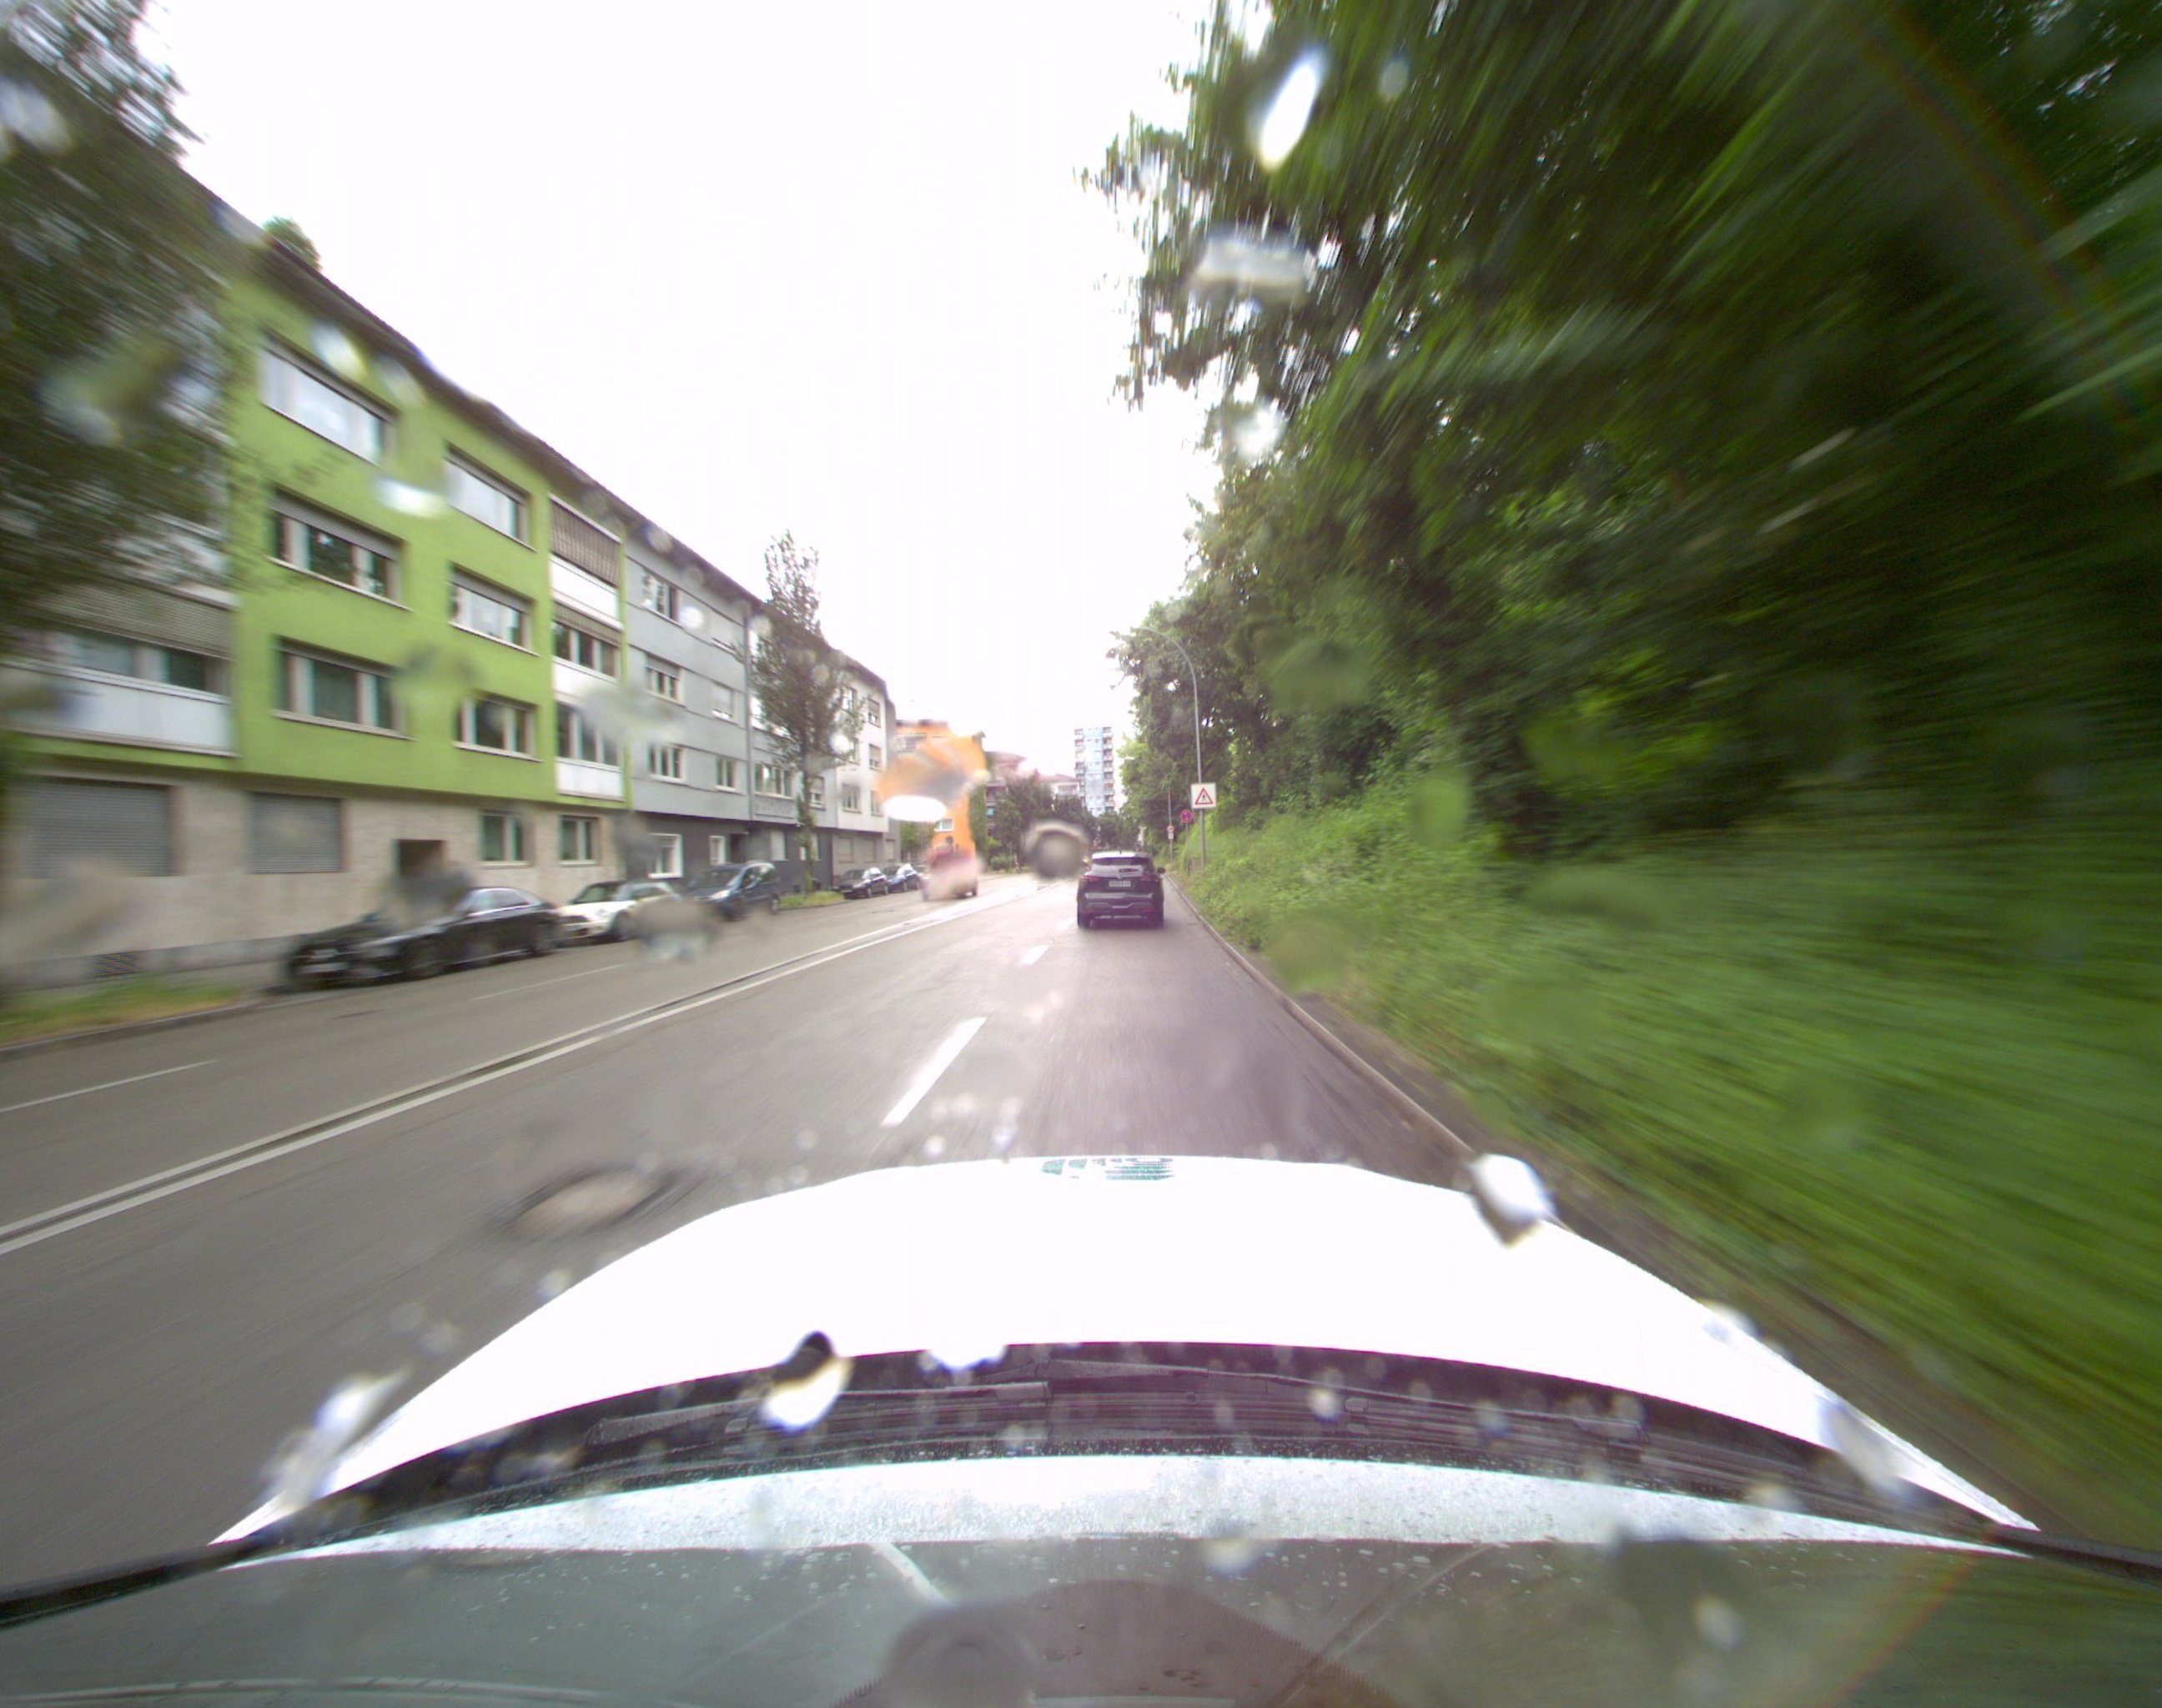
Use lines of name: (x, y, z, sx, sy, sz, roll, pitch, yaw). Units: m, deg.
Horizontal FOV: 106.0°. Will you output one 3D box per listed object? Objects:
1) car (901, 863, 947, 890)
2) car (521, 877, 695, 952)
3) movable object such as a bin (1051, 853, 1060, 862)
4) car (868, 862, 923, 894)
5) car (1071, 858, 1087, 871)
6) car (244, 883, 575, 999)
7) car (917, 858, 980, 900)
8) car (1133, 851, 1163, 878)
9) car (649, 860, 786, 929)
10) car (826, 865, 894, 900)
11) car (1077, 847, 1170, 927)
car: (-9.614, 1.336, 50.126, 1.705, 1.425, 4.326, -4, 0, 3)
car: (-11.175, 1.364, 19.590, 1.674, 1.376, 4.001, -4, 0, 1)
movable object such as a bin: (-4.187, 0.626, 132.323, 1.315, 1.361, 1.260, -3, 0, 5)
car: (-10.000, 1.282, 44.236, 1.674, 1.449, 4.279, -5, 0, 3)
car: (-0.219, 1.317, 106.122, 1.781, 1.504, 4.651, -3, 0, 2)
car: (-11.191, 1.337, 14.155, 1.812, 1.372, 4.679, -4, 0, -1)
car: (-5.167, 0.938, 32.159, 1.700, 1.478, 3.681, -3, 0, 1)
car: (4.522, 0.711, 55.591, 1.879, 1.711, 4.004, -2, 0, 3)
car: (-11.041, 1.153, 25.154, 1.883, 1.766, 4.603, -4, 0, 3)
car: (-10.327, 1.295, 38.457, 1.682, 1.358, 4.582, -5, 0, 2)
car: (0.950, 0.662, 18.428, 1.837, 1.582, 4.003, -1, 0, 3)
